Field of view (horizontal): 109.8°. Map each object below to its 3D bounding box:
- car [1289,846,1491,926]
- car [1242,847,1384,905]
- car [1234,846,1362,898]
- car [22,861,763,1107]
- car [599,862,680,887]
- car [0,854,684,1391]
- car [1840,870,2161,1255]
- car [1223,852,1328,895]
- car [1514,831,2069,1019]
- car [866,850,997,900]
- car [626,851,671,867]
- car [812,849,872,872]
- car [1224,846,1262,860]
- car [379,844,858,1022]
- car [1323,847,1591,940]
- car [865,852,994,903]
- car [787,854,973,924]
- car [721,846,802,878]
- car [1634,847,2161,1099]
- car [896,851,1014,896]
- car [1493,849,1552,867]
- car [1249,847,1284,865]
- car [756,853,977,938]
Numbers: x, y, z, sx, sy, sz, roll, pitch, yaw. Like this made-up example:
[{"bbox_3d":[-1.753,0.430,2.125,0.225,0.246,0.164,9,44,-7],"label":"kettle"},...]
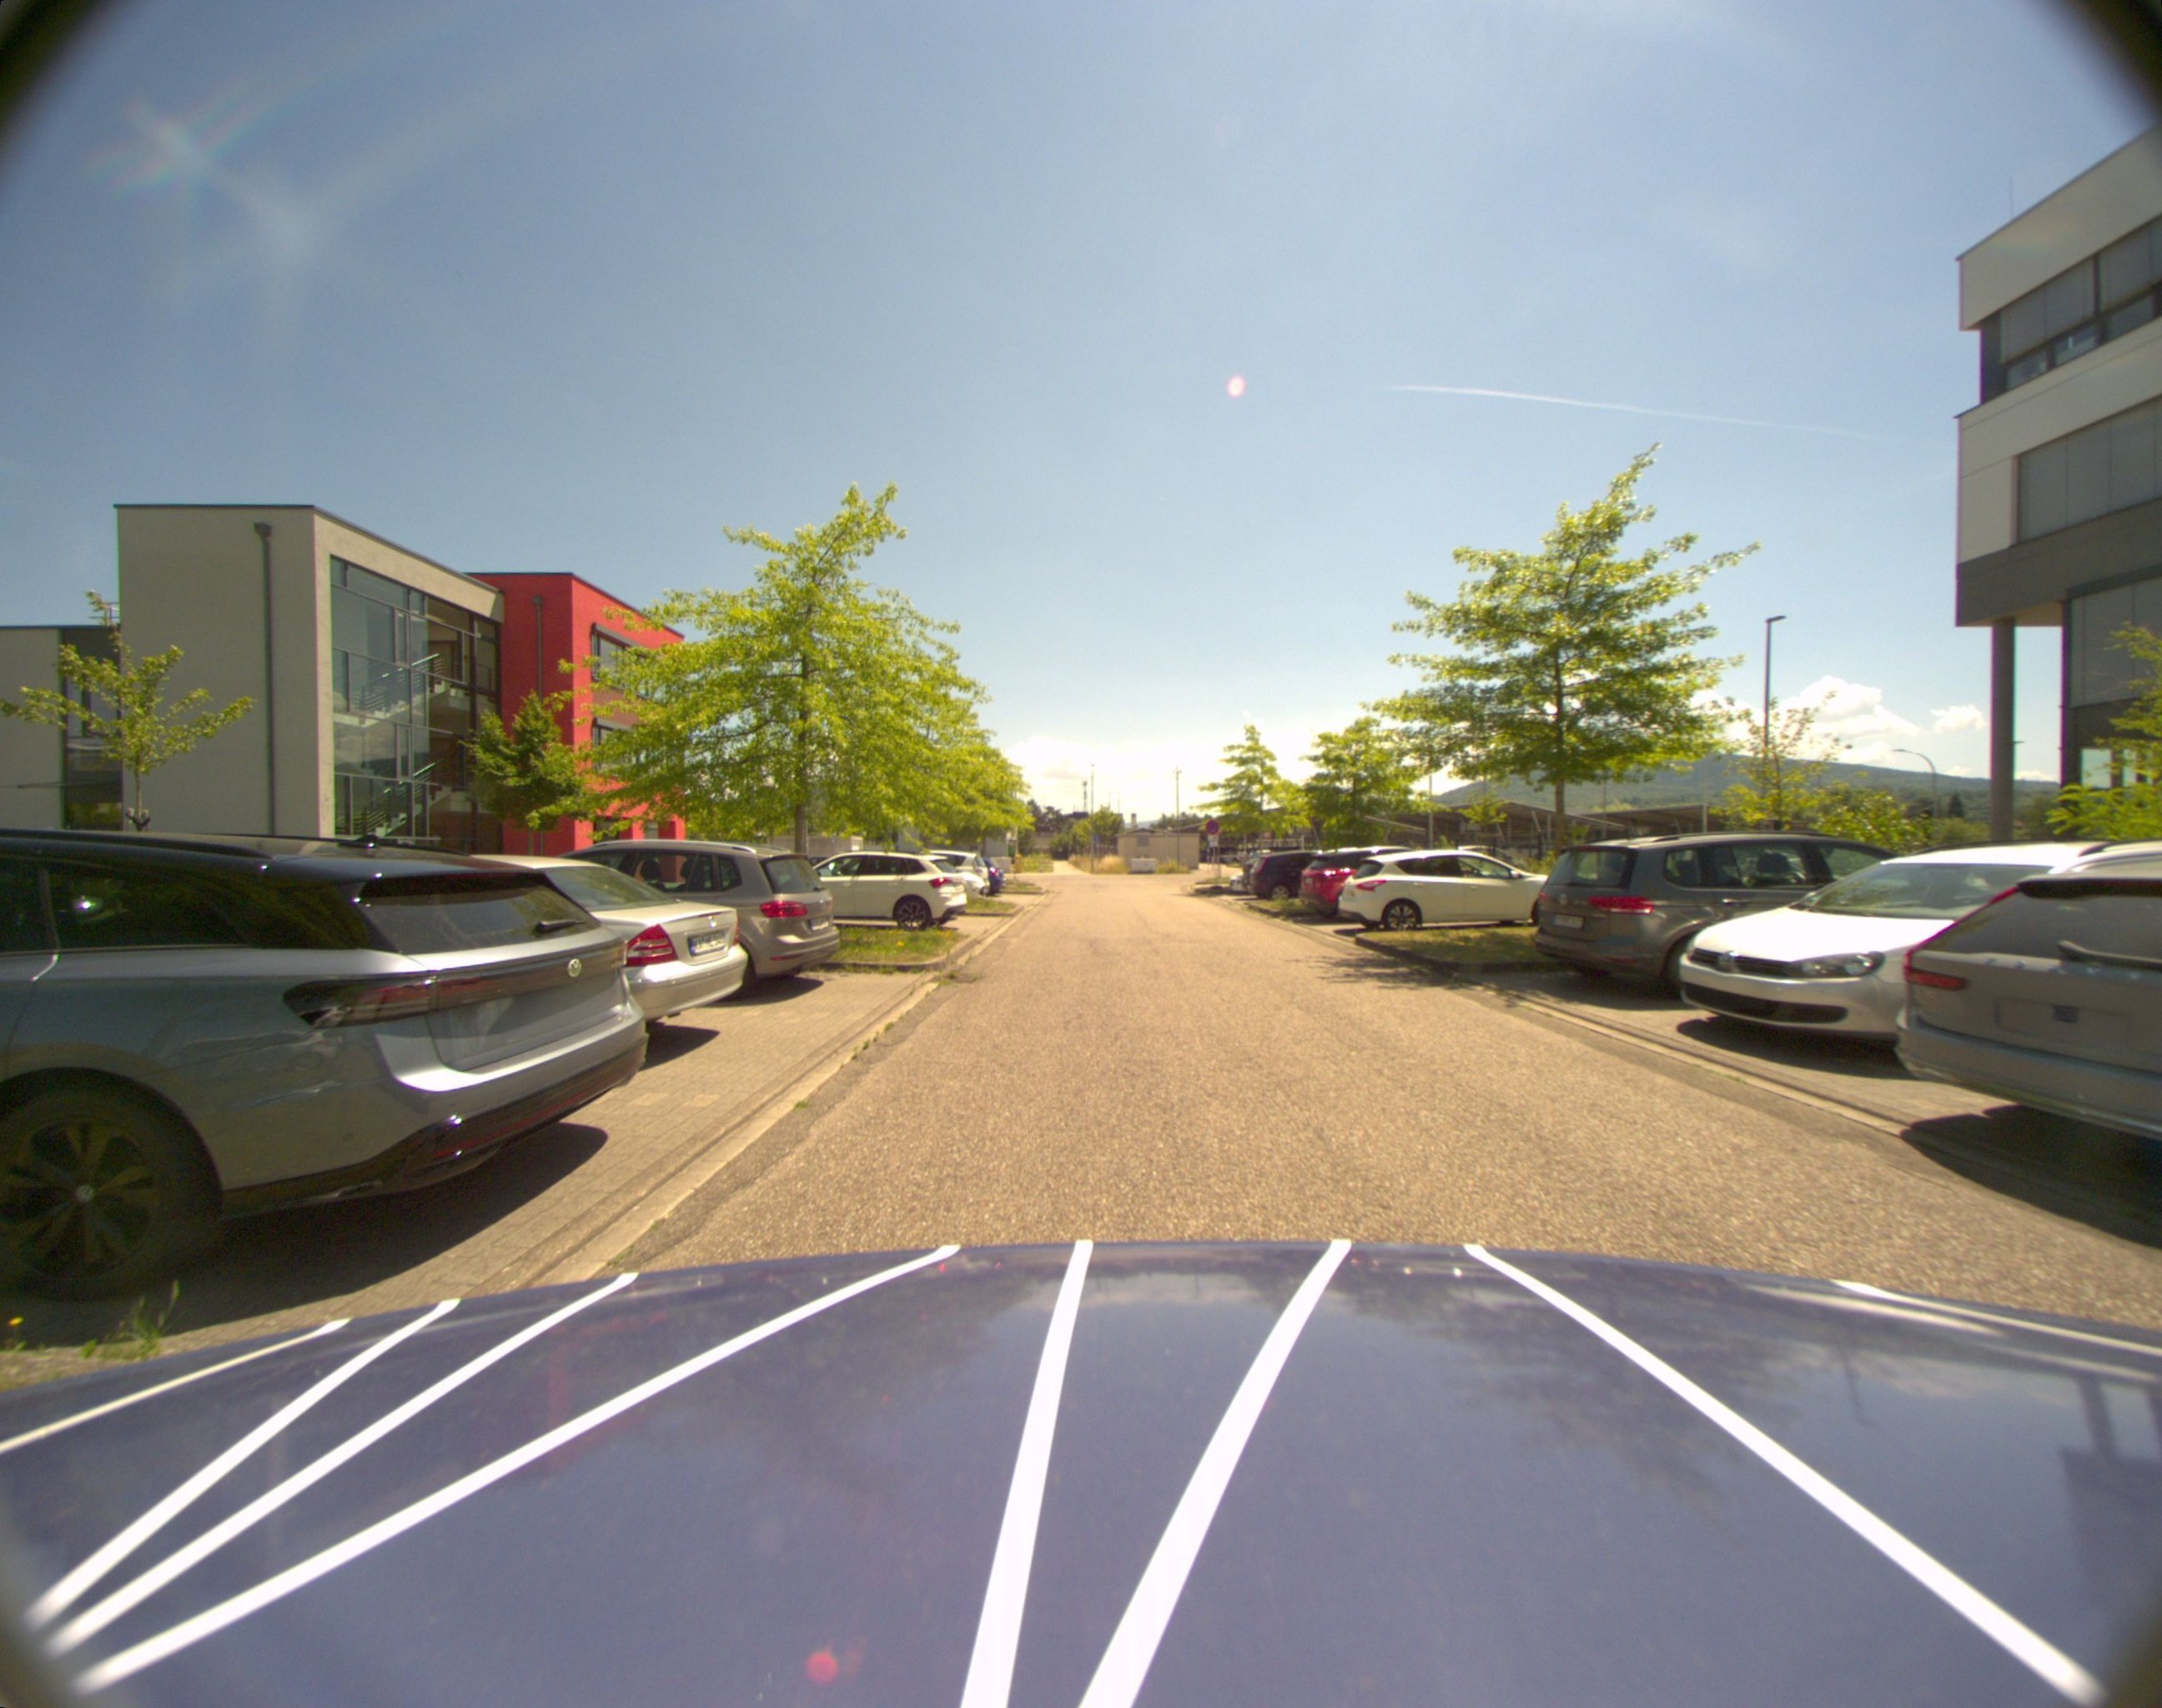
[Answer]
[{"bbox_3d":[6.920,0.688,17.283,3.849,1.582,1.727,-2,0,-1],"label":"car"},{"bbox_3d":[7.146,0.658,23.691,3.915,1.582,1.728,-2,0,4],"label":"car"},{"bbox_3d":[7.461,0.597,26.329,3.849,1.584,1.829,-2,0,-3],"label":"car"},{"bbox_3d":[-4.756,0.832,5.665,4.056,1.444,1.645,1,1,1],"label":"car"},{"bbox_3d":[-25.844,1.216,44.572,3.706,1.433,1.788,0,-2,-3],"label":"car"},{"bbox_3d":[-4.540,0.806,3.162,4.729,1.552,1.913,1,1,-3],"label":"car"},{"bbox_3d":[6.645,0.788,3.356,4.725,1.439,1.857,-2,0,0],"label":"car"},{"bbox_3d":[7.358,0.708,28.909,3.513,1.433,1.727,-2,0,0],"label":"car"},{"bbox_3d":[7.164,0.677,8.025,4.127,1.625,1.728,-2,0,3],"label":"car"},{"bbox_3d":[-5.101,0.708,26.284,4.119,1.640,1.774,0,0,3],"label":"car"},{"bbox_3d":[-43.910,0.533,77.208,3.625,1.493,1.658,-1,3,1],"label":"car"},{"bbox_3d":[-16.841,0.434,53.642,3.626,1.493,1.682,-1,3,-1],"label":"car"},{"bbox_3d":[17.827,-0.097,83.755,3.774,1.428,1.723,0,1,-3],"label":"car"},{"bbox_3d":[-4.672,0.742,8.085,4.056,1.616,1.693,1,1,1],"label":"car"},{"bbox_3d":[7.019,0.723,14.545,4.182,1.504,1.807,-3,-1,2],"label":"car"},{"bbox_3d":[-4.646,0.703,23.579,3.626,1.454,1.611,1,0,3],"label":"car"},{"bbox_3d":[-4.580,0.776,17.697,3.844,1.515,1.779,0,1,1],"label":"car"},{"bbox_3d":[-18.789,0.512,44.850,3.997,1.764,1.811,-1,-1,0],"label":"car"},{"bbox_3d":[7.014,0.763,5.812,4.322,1.464,1.727,-2,0,-1],"label":"car"},{"bbox_3d":[-4.687,0.722,28.583,4.004,1.481,1.728,2,0,5],"label":"car"},{"bbox_3d":[35.317,0.312,60.790,3.774,1.428,1.723,0,1,-3],"label":"car"},{"bbox_3d":[15.184,0.166,62.436,1.723,1.428,3.774,0,0,-3],"label":"car"},{"bbox_3d":[-4.173,0.780,15.134,3.842,1.544,1.780,0,0,6],"label":"car"}]
